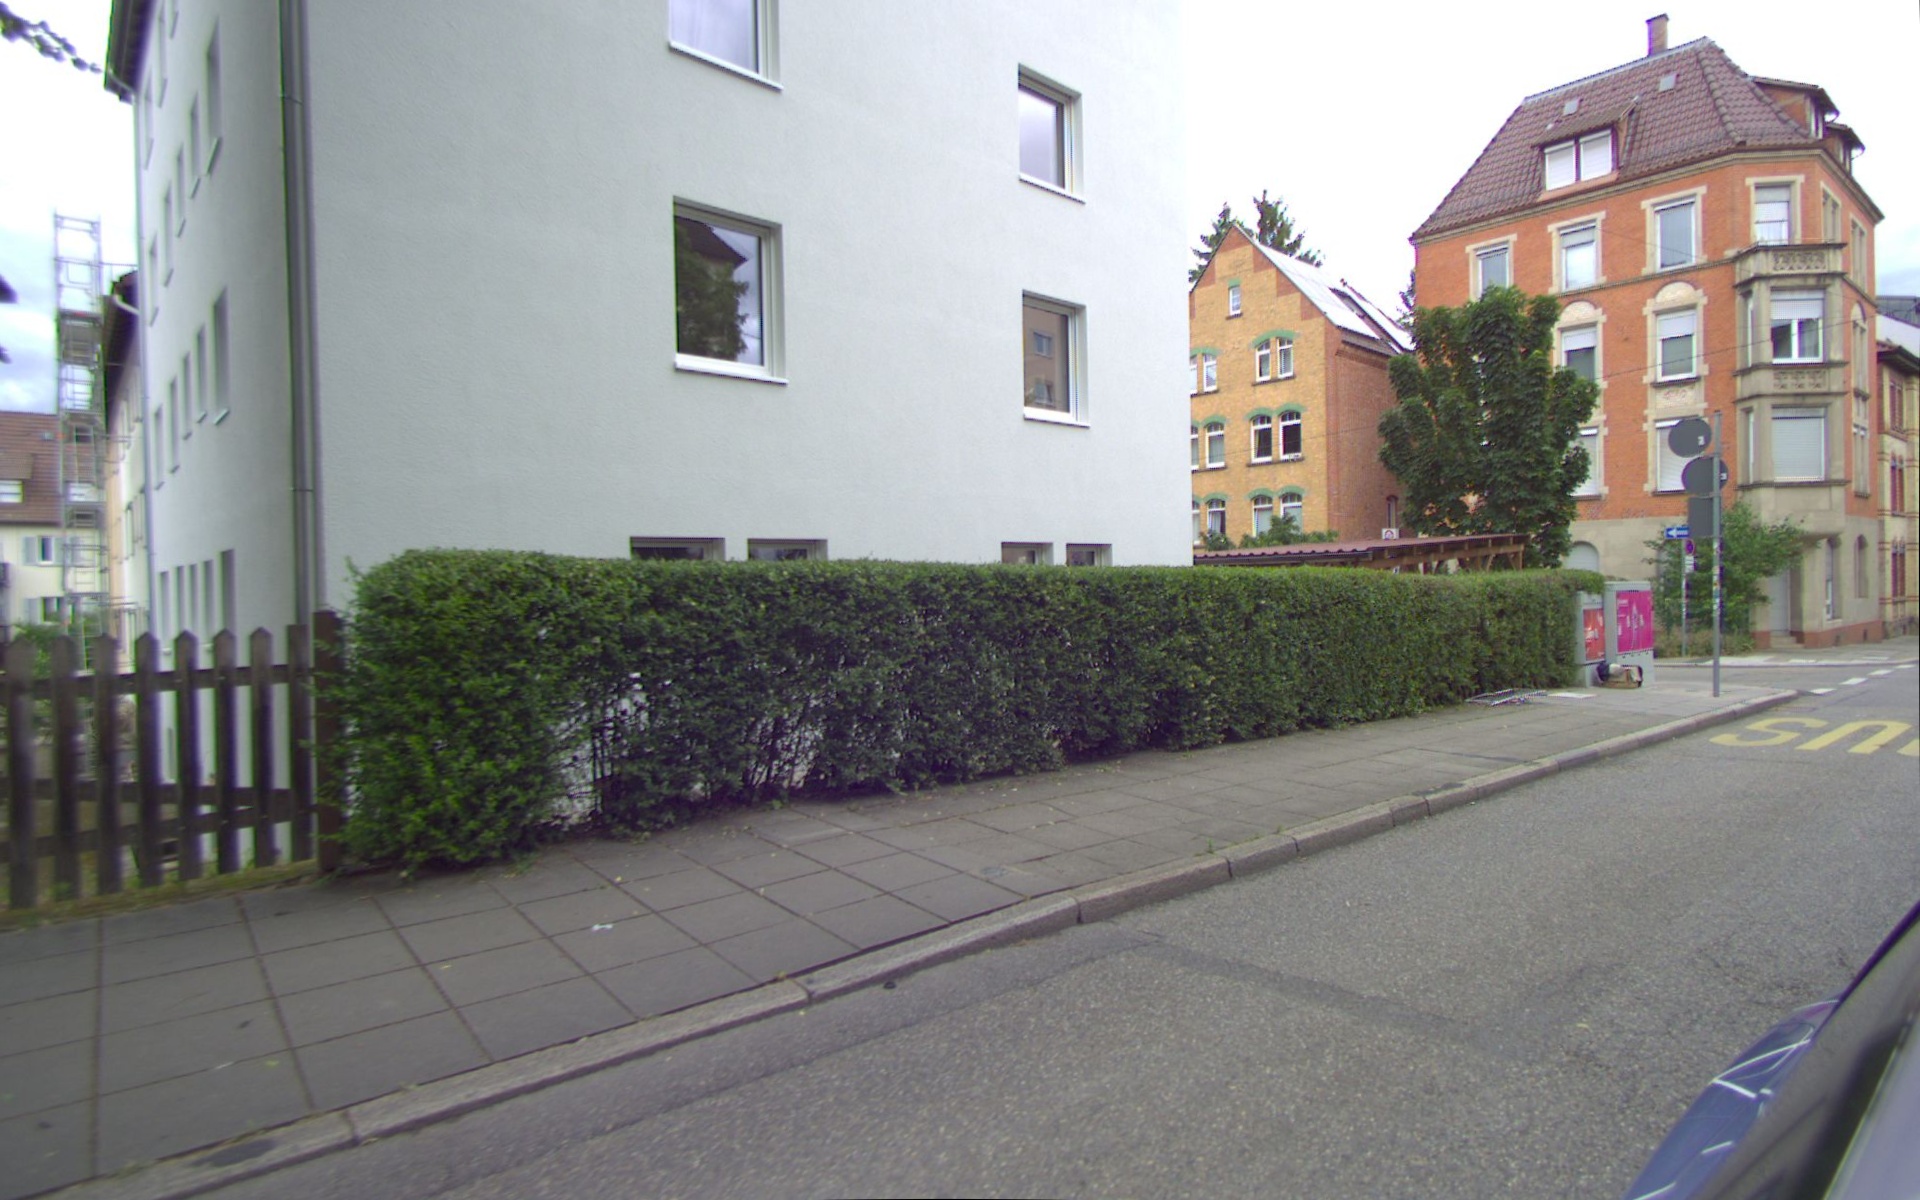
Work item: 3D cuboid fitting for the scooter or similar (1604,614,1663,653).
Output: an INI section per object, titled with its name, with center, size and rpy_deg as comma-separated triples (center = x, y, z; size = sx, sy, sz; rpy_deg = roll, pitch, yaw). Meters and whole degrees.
[scooter or similar]
center = 18.133, 0.903, 27.259
size = 0.408, 1.029, 1.236
rpy_deg = -1, -1, -40
